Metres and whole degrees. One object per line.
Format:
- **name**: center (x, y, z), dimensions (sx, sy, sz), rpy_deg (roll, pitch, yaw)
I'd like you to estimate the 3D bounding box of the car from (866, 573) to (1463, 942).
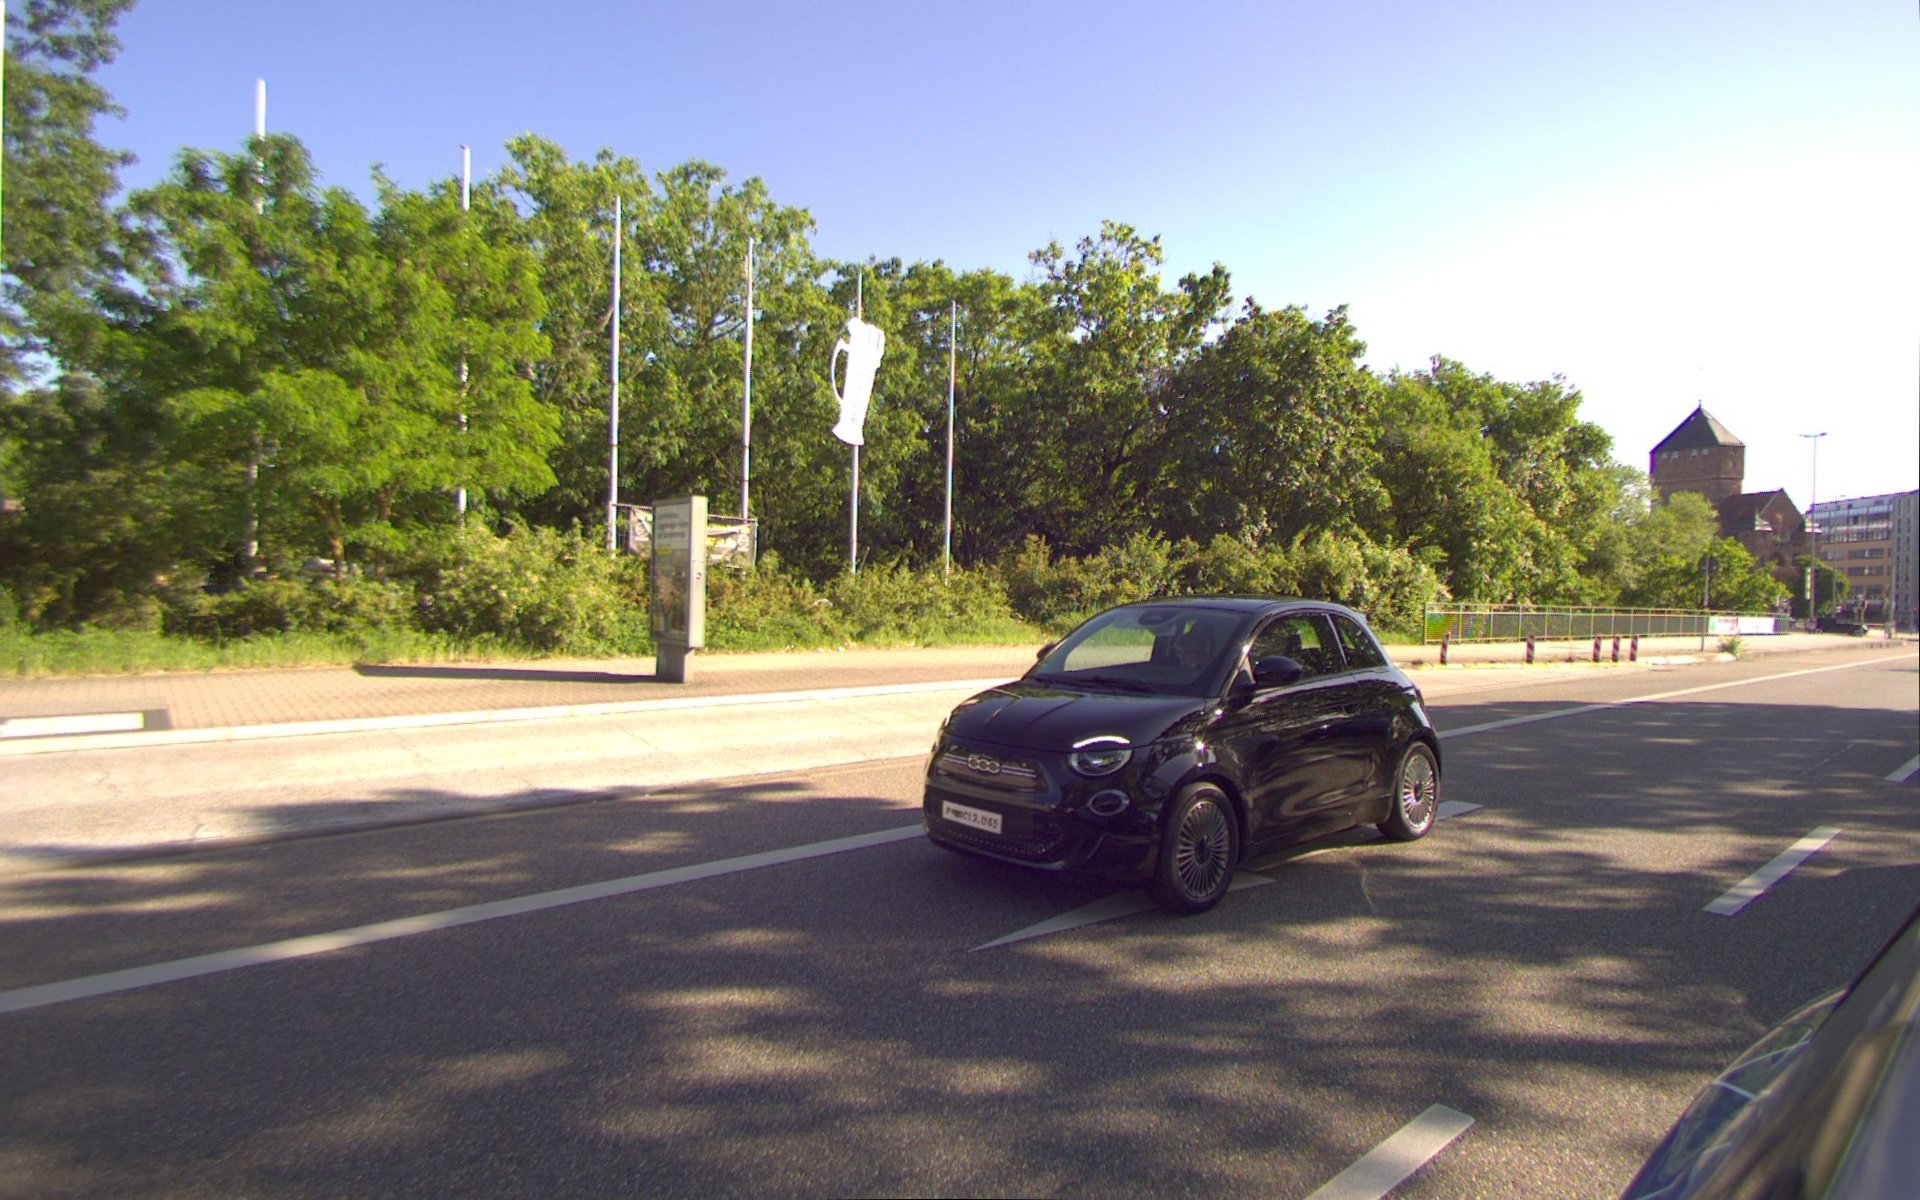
- **car**: center (1.362, 0.646, 5.994), dimensions (3.500, 1.522, 1.677), rpy_deg (0, 1, -41)
